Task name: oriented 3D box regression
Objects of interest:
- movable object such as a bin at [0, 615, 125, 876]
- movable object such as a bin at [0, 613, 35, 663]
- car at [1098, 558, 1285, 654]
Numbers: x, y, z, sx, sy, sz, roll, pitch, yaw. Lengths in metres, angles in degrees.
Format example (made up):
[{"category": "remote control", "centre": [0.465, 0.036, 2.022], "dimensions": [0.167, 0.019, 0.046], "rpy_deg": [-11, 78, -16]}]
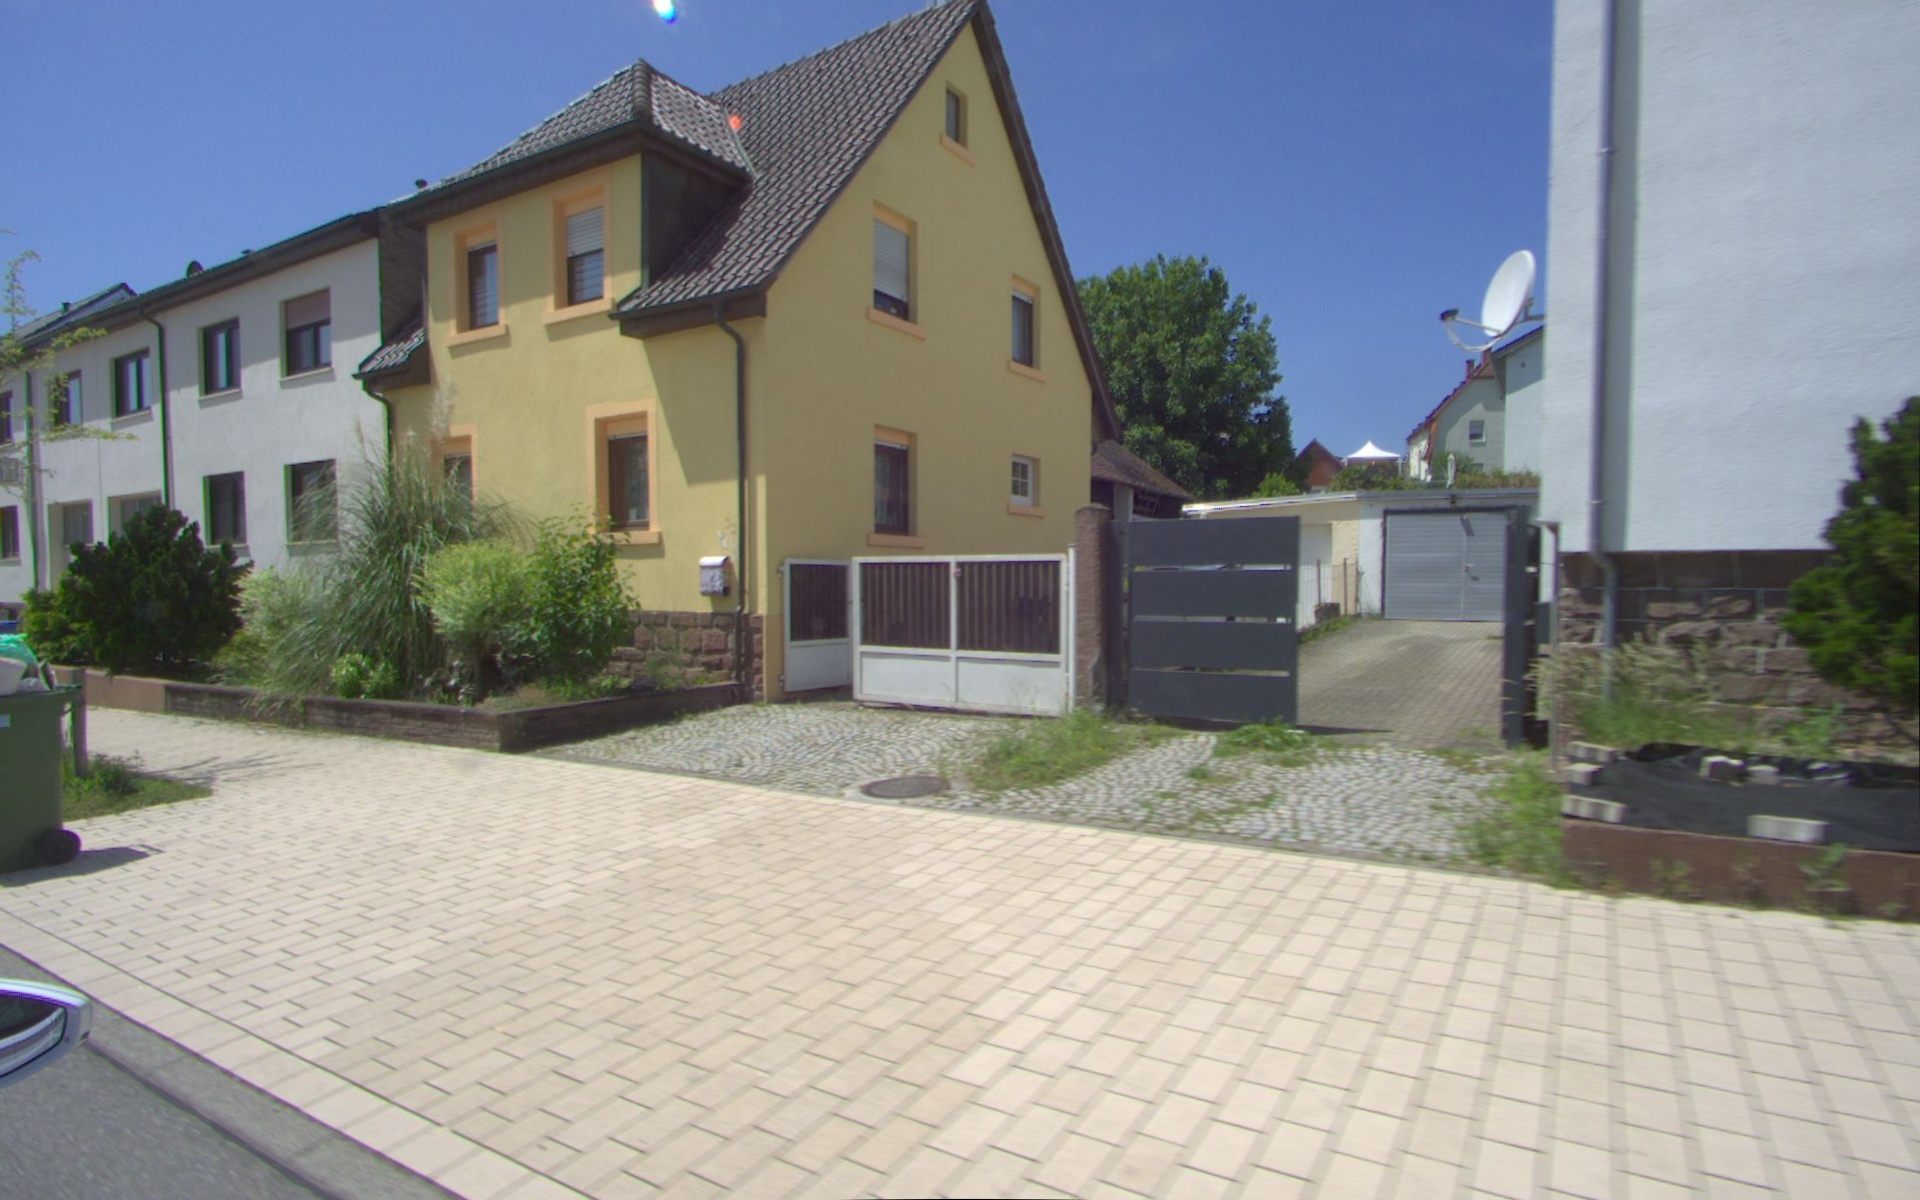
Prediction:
[{"category": "movable object such as a bin", "centre": [-5.651, 0.821, 5.897], "dimensions": [0.911, 1.415, 0.790], "rpy_deg": [0, 3, 31]}, {"category": "movable object such as a bin", "centre": [-22.462, 0.896, 23.689], "dimensions": [0.852, 1.122, 0.681], "rpy_deg": [0, 4, 40]}, {"category": "car", "centre": [4.143, 0.084, 17.408], "dimensions": [1.892, 1.459, 4.139], "rpy_deg": [-1, 0, 33]}]
